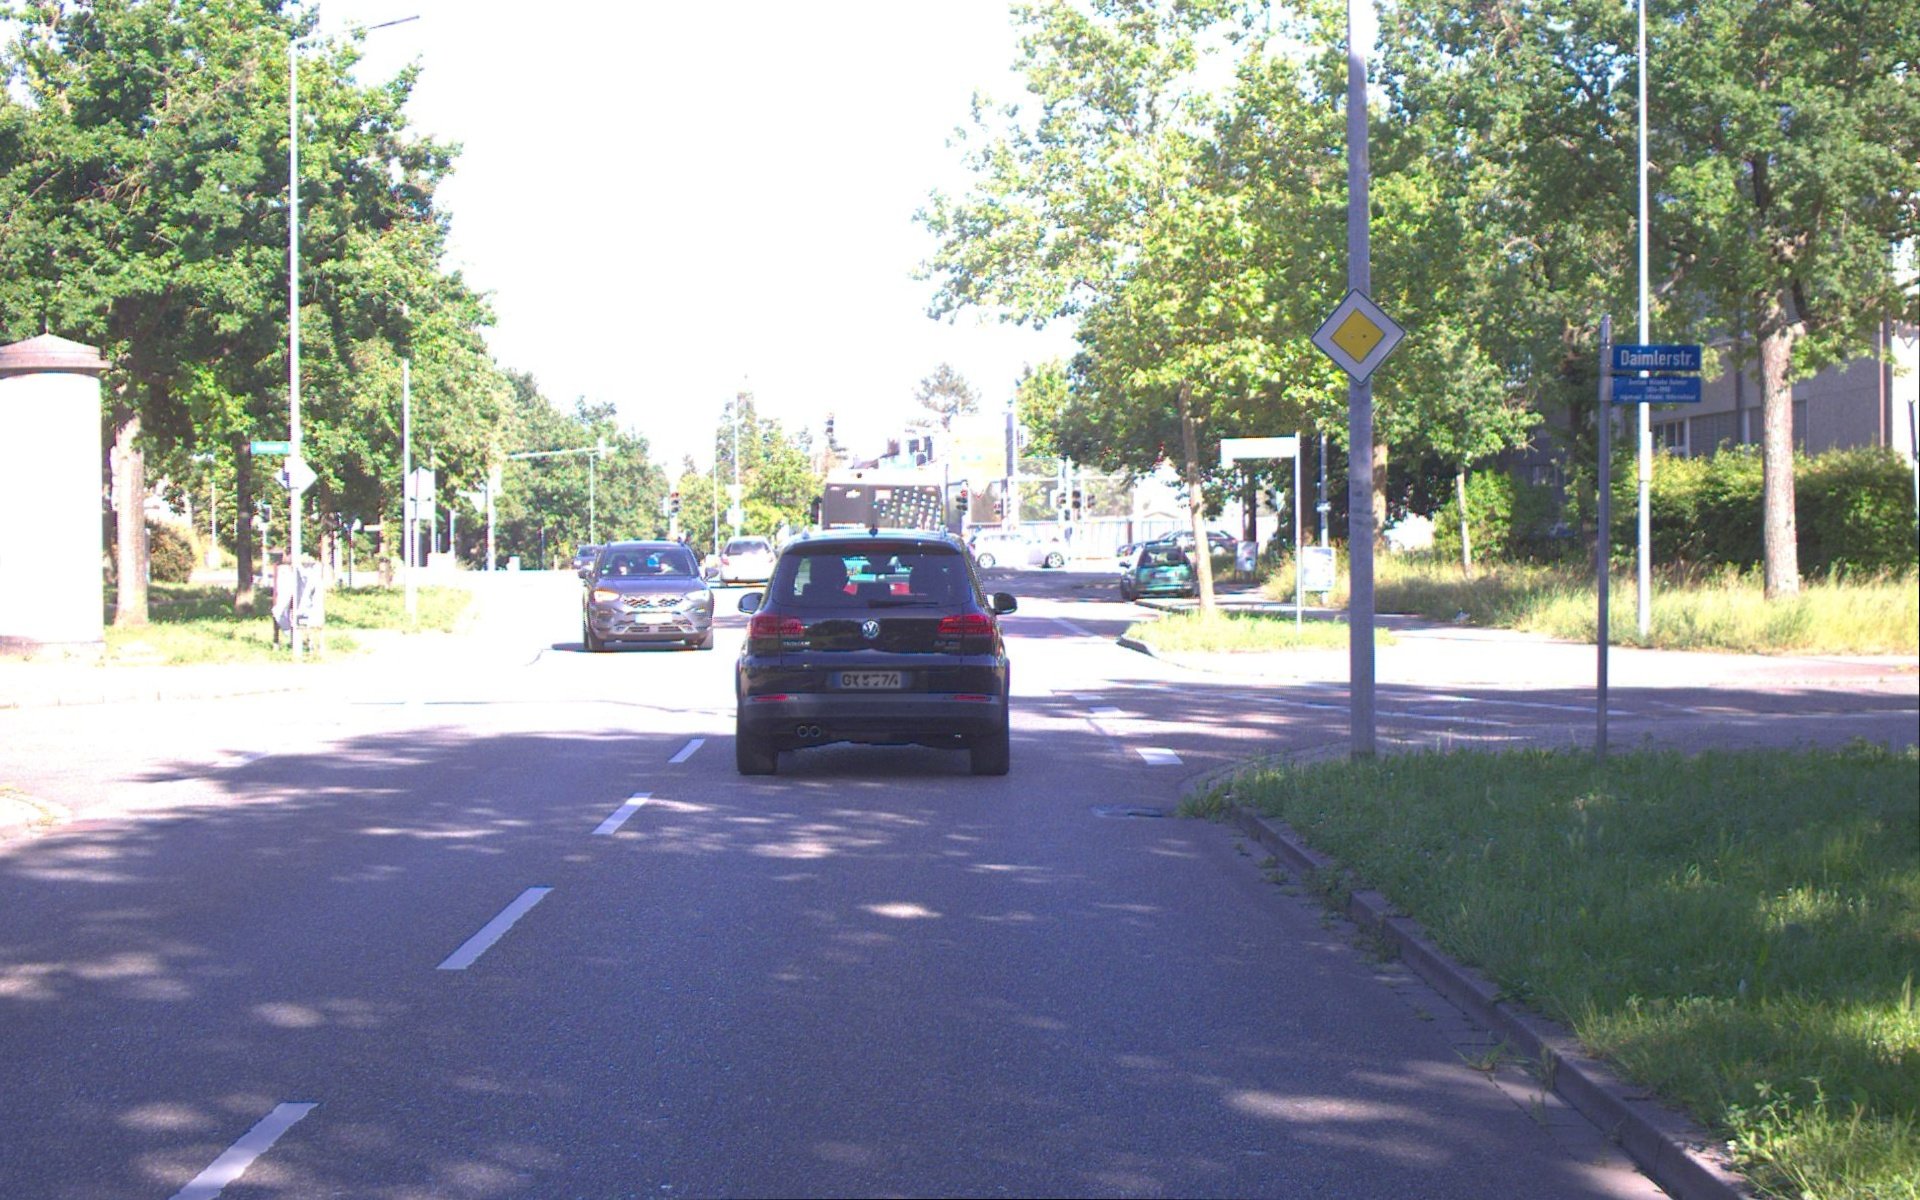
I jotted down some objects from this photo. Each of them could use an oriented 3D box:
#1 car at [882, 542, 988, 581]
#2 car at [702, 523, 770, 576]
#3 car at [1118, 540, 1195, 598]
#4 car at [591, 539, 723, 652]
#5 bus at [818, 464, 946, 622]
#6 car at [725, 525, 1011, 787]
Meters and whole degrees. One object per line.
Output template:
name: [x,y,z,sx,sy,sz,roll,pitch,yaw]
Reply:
car: [-0.849,-1.343,119.396,3.523,1.297,1.574,0,1,6]
car: [-6.994,-1.559,107.126,1.753,1.615,4.034,0,0,-8]
car: [5.082,-0.814,89.196,1.592,1.424,4.204,-2,1,-2]
car: [-4.446,-0.074,50.910,1.753,1.590,4.299,1,0,-3]
bus: [-1.891,-1.327,78.723,2.596,3.323,11.985,1,1,-3]
car: [-0.611,0.351,24.215,1.821,1.668,4.003,1,0,0]
